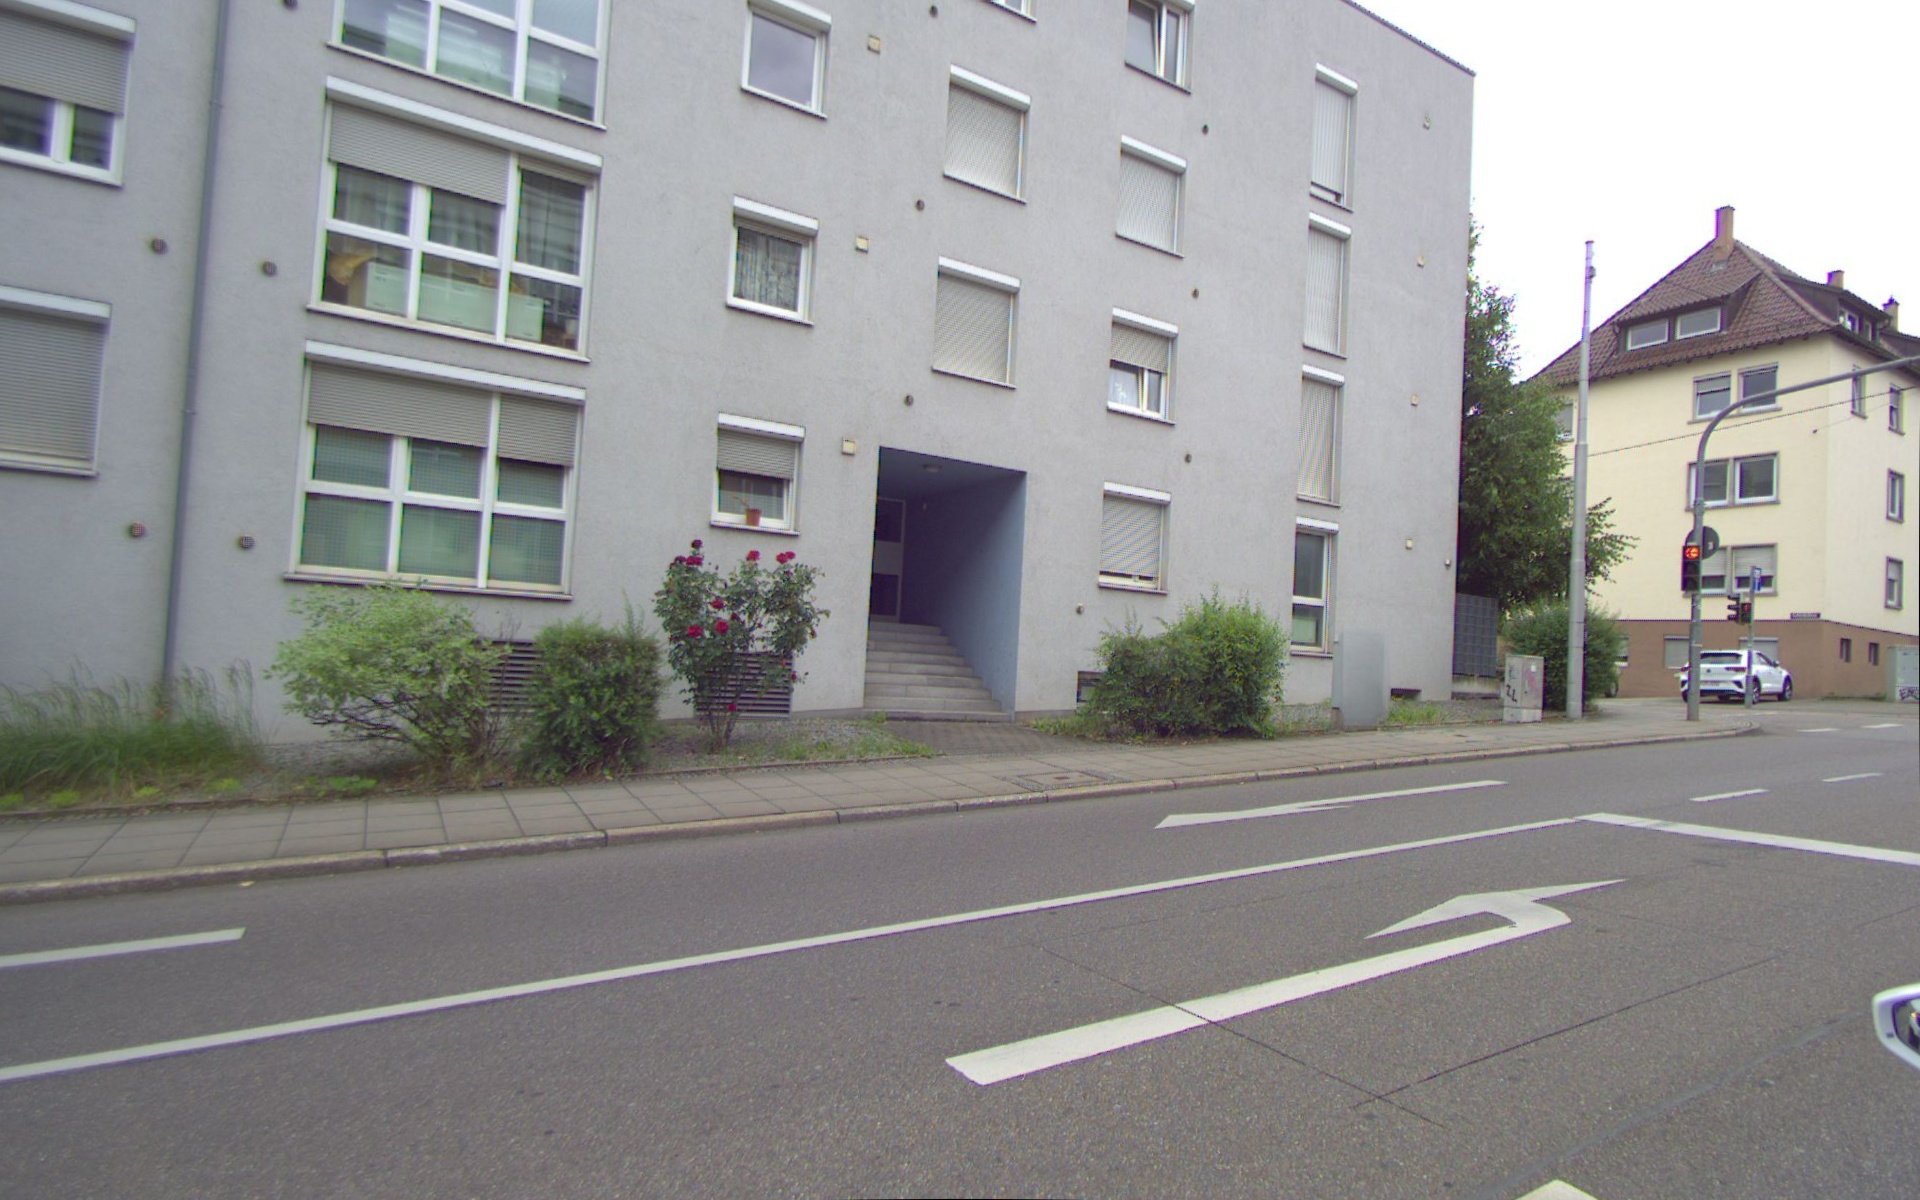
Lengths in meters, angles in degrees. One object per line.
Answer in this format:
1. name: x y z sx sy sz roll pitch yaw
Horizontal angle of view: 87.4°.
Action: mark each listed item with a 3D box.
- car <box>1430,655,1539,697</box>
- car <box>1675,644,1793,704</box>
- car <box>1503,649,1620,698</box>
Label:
1. car: 19.144 2.735 36.630 3.953 1.380 1.662 2 -1 -30
2. car: 23.229 2.176 30.109 3.960 1.683 1.660 2 -4 -35
3. car: 20.641 2.505 34.451 4.053 1.566 1.662 2 -4 -30
